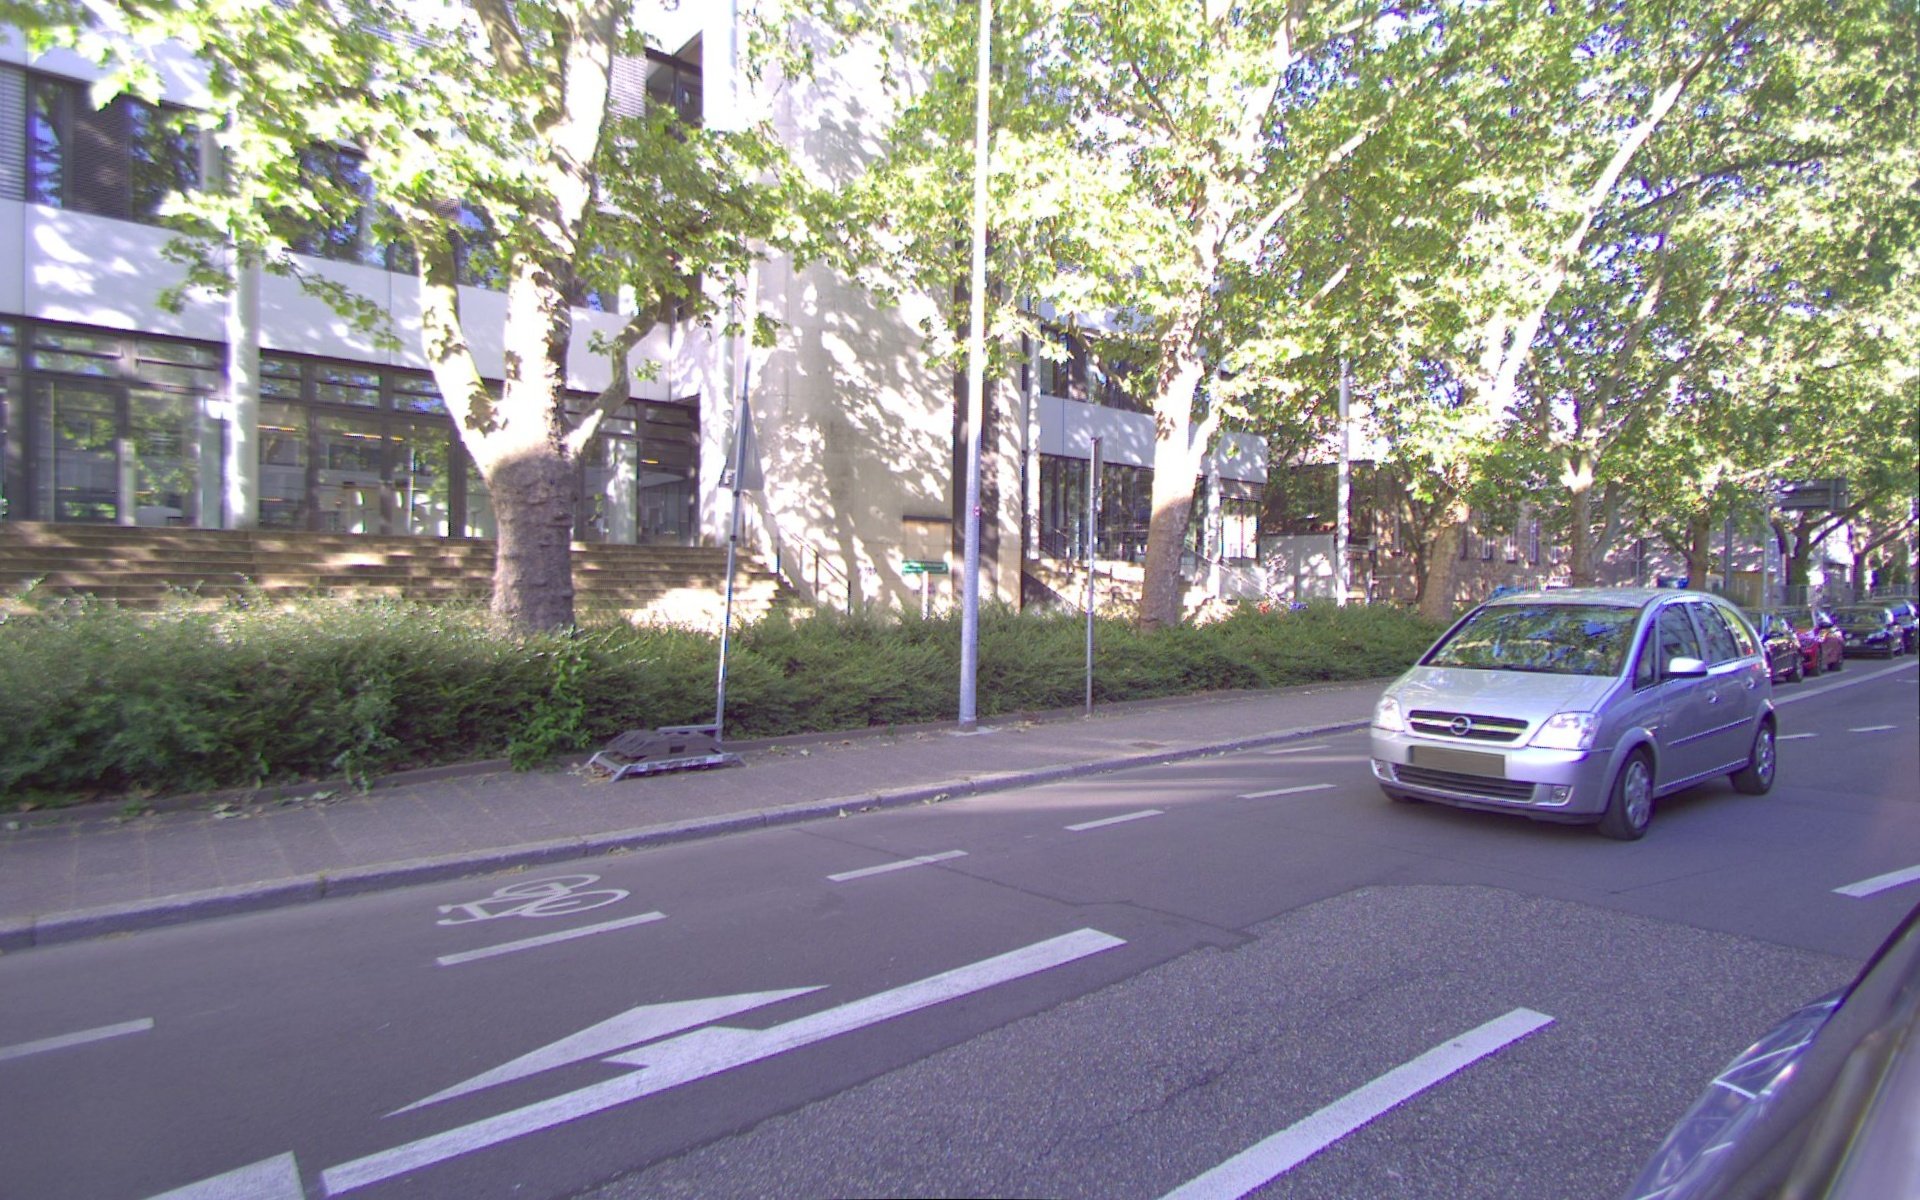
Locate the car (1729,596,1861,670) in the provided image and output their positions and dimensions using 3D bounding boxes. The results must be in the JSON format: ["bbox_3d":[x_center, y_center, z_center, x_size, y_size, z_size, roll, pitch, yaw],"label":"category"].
[{"bbox_3d":[18.609,0.683,22.510,3.851,1.511,1.679,0,-1,-42],"label":"car"}]

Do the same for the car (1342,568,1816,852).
[{"bbox_3d":[4.735,0.614,7.588,3.787,1.623,1.707,0,1,-36],"label":"car"}]

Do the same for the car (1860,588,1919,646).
[{"bbox_3d":[29.683,0.505,31.837,3.840,1.708,1.633,0,1,-42],"label":"car"}]

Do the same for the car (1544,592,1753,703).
[{"bbox_3d":[11.084,0.670,16.192,4.071,1.548,1.827,0,-1,-42],"label":"car"}]

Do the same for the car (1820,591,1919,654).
[{"bbox_3d":[25.986,0.591,28.817,4.022,1.653,1.739,0,1,-42],"label":"car"}]
